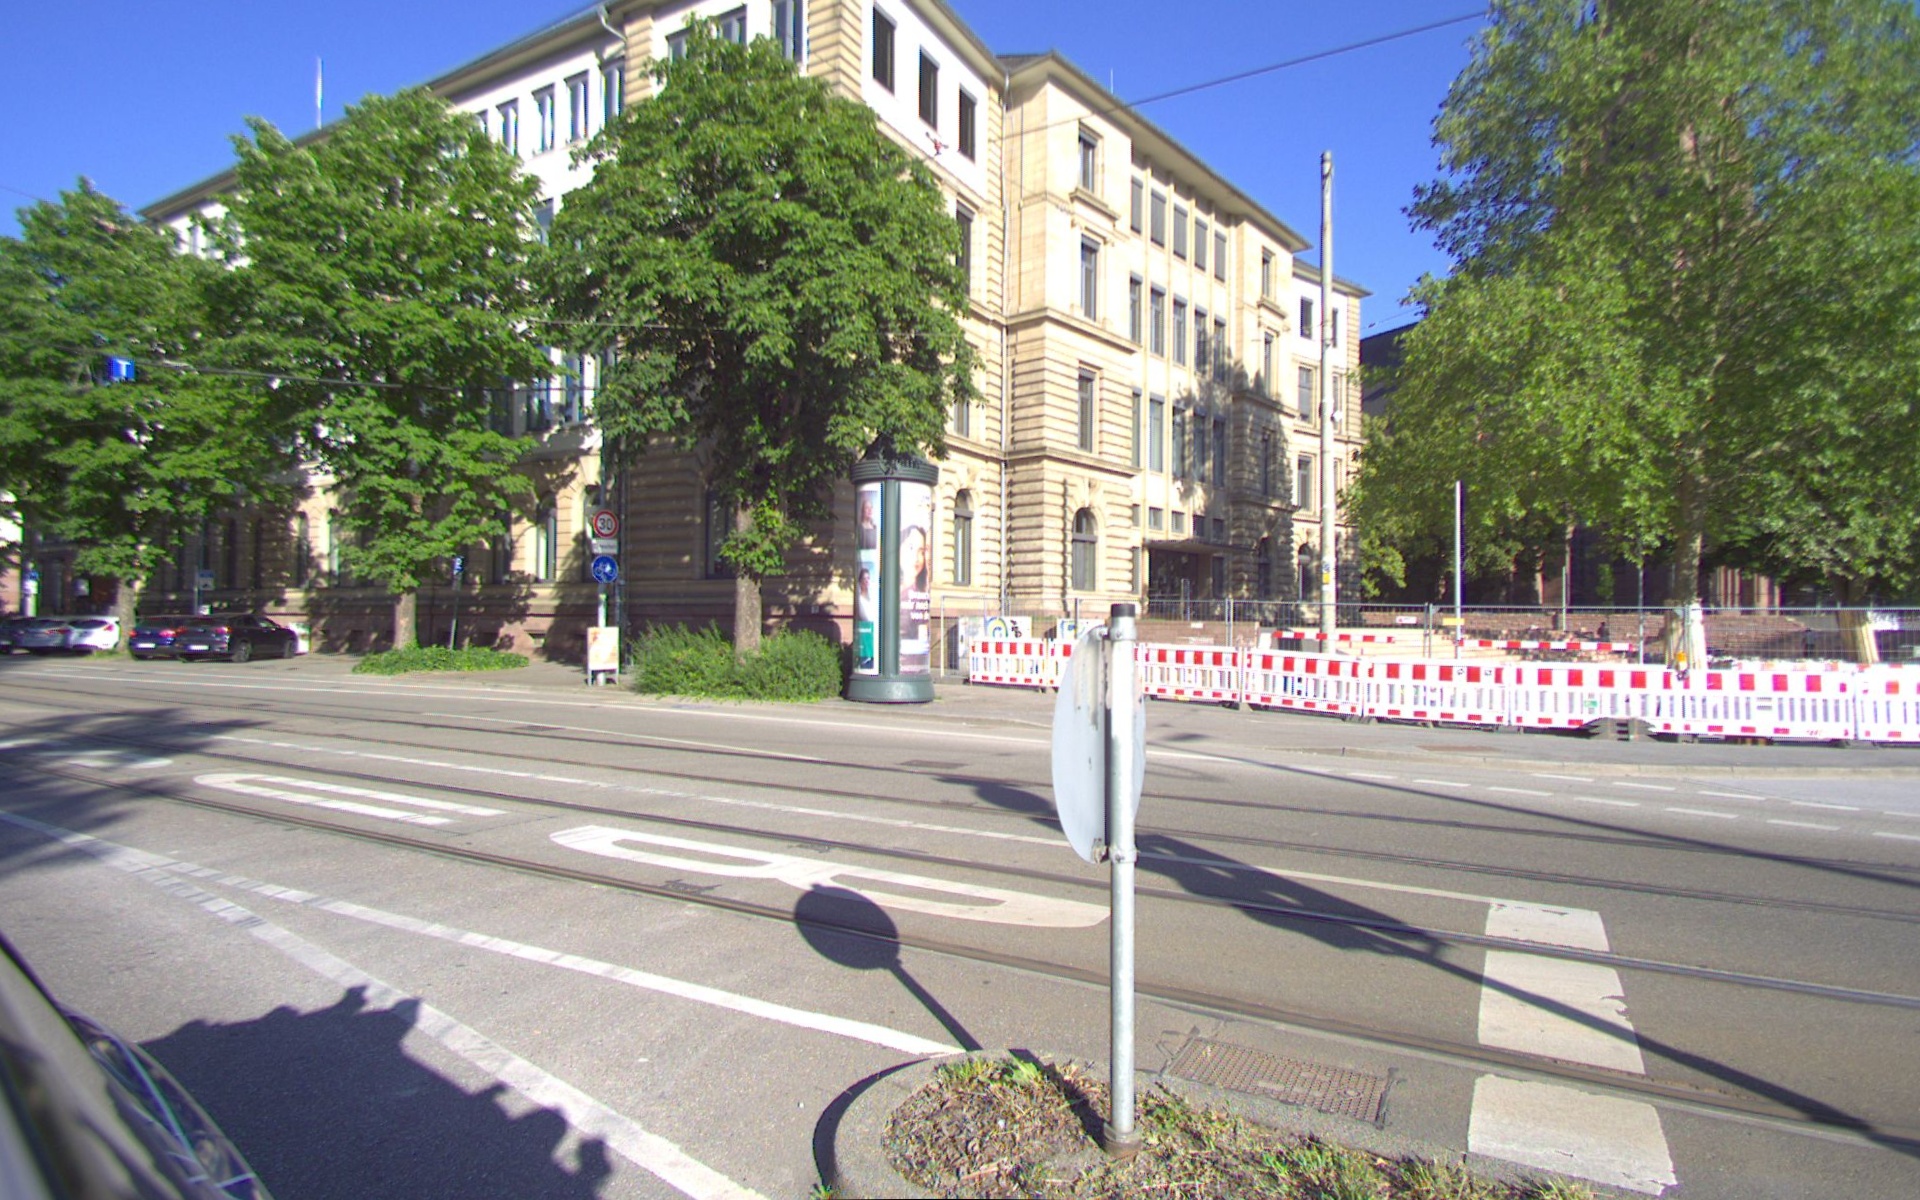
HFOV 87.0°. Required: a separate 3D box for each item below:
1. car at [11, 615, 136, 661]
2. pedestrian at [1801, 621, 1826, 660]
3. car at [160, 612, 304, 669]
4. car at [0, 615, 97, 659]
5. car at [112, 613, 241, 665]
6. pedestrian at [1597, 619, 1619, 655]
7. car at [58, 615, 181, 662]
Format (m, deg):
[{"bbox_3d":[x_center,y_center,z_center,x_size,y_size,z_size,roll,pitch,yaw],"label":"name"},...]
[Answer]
[{"bbox_3d":[-33.228,1.392,38.064,1.626,1.572,3.652,-1,0,-3],"label":"car"},{"bbox_3d":[36.925,1.725,43.772,0.666,1.660,0.762,1,-2,-45],"label":"pedestrian"},{"bbox_3d":[-23.614,1.262,33.035,1.819,1.643,4.184,-1,0,-3],"label":"car"},{"bbox_3d":[-36.244,1.415,39.773,1.626,1.572,3.652,-1,0,-3],"label":"car"},{"bbox_3d":[-26.244,1.271,34.037,1.626,1.572,3.652,-1,0,-3],"label":"car"},{"bbox_3d":[30.547,1.727,47.674,0.627,1.660,0.677,1,-2,-37],"label":"pedestrian"},{"bbox_3d":[-30.915,1.374,37.354,1.626,1.572,3.652,-1,0,-3],"label":"car"}]
